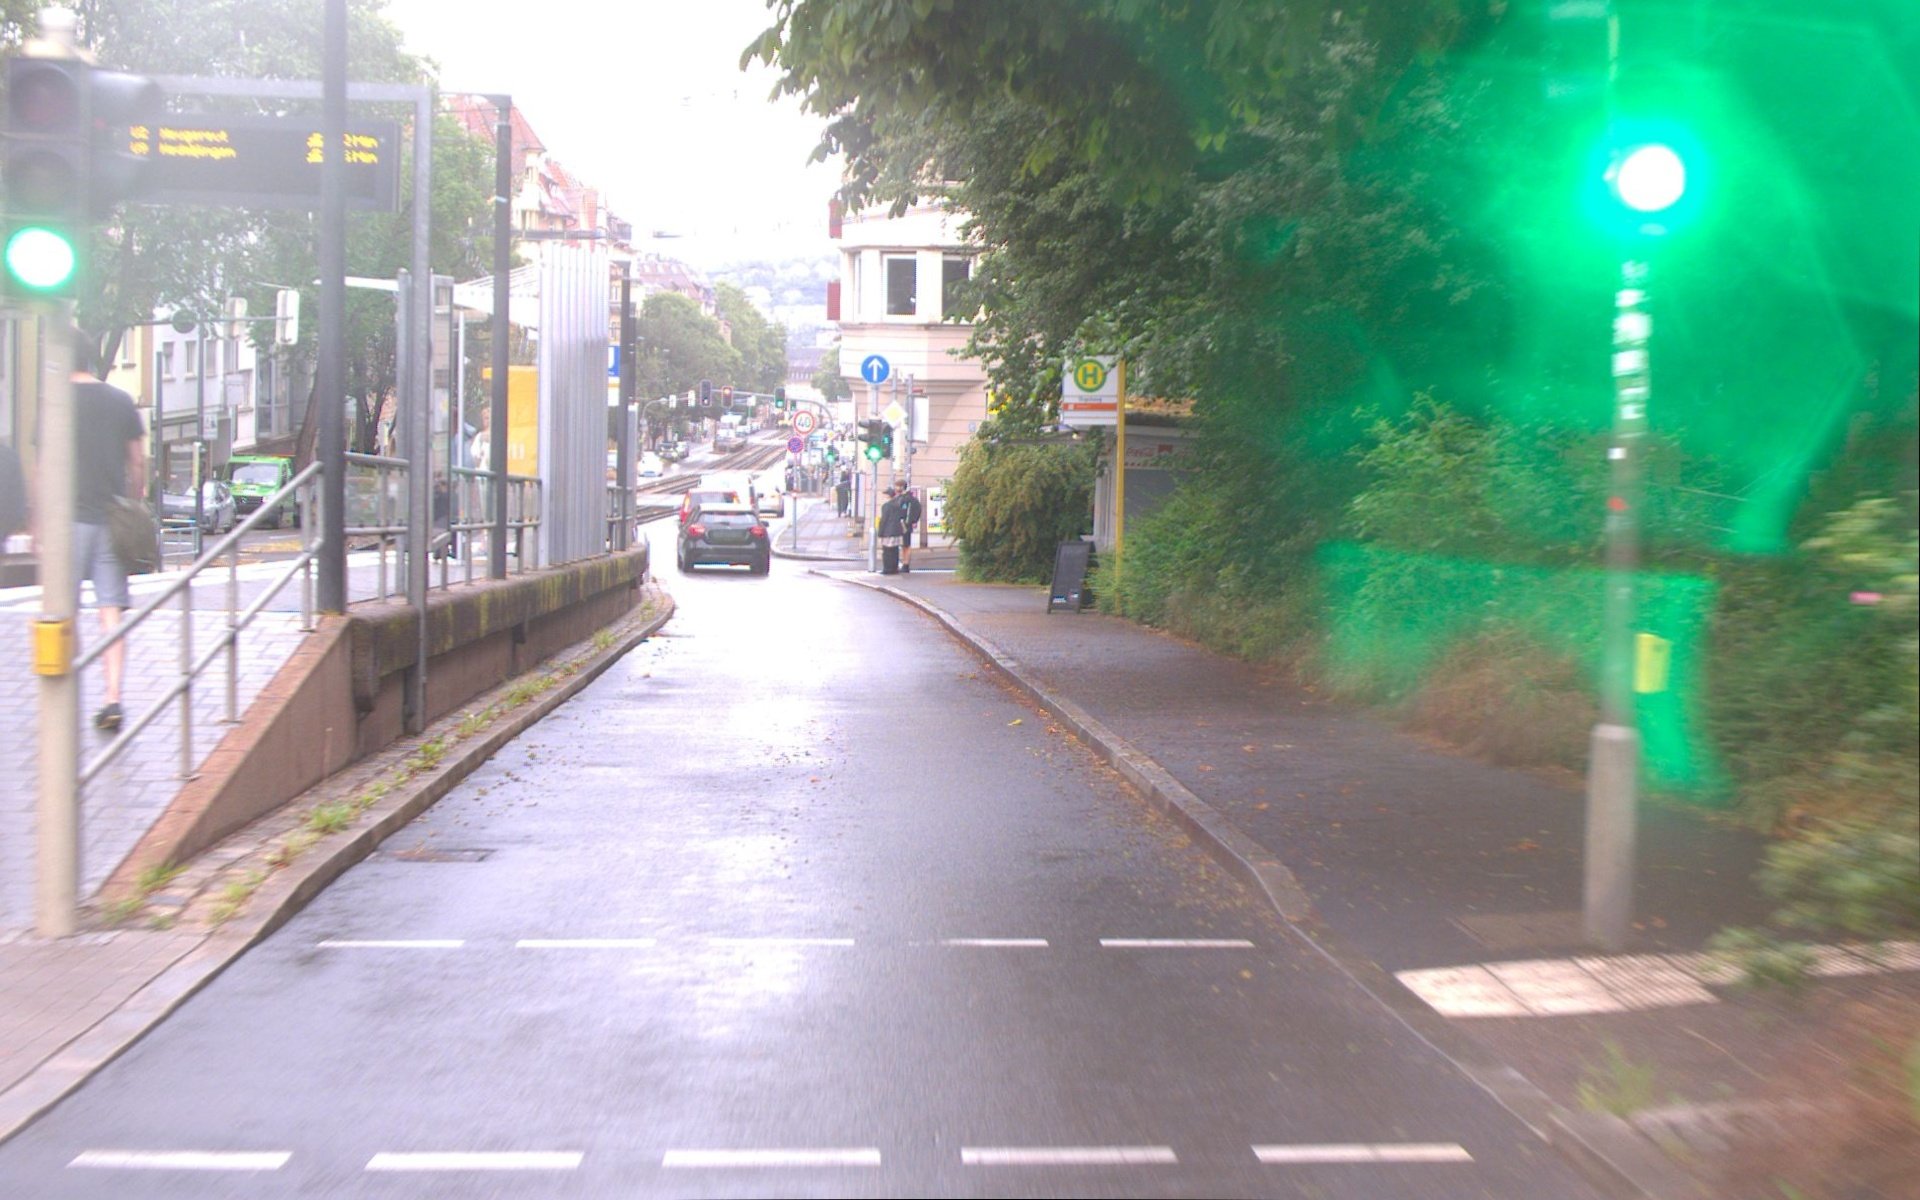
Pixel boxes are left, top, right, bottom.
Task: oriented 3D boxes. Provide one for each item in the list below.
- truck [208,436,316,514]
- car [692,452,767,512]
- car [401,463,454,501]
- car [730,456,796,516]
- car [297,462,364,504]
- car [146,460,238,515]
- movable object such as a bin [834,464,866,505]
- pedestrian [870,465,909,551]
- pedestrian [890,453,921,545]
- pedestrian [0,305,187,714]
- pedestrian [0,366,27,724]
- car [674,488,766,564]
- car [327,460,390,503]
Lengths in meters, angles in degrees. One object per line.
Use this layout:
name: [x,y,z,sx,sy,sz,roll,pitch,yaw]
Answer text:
truck: [-22.125,-3.966,109.171,2.051,2.384,6.322,0,2,1]
car: [-5.851,-2.997,87.296,1.851,1.468,4.001,1,2,-4]
car: [-23.287,-5.179,150.437,1.773,1.614,4.256,-1,2,-2]
car: [-6.095,-3.510,105.958,1.948,1.786,4.145,1,2,-4]
car: [-22.510,-4.195,123.089,1.773,1.448,4.256,-1,2,-3]
car: [-22.097,-3.260,99.024,1.726,1.510,4.496,0,3,-1]
movable object such as a bin: [-4.476,-4.684,139.409,1.167,1.649,1.310,-1,2,-6]
pedestrian: [-1.387,-1.809,67.553,0.695,1.689,0.556,1,2,-5]
pedestrian: [-1.083,-2.013,68.186,0.553,1.807,0.651,1,2,-5]
pedestrian: [-3.949,-0.429,15.673,0.650,1.777,0.848,0,8,-2]
pedestrian: [-4.588,-0.243,15.319,0.650,1.556,0.684,0,8,-2]
car: [-4.984,-1.560,71.519,1.851,1.468,4.001,0,3,-4]
car: [-22.771,-4.514,130.326,1.773,1.541,4.256,-1,2,-3]
